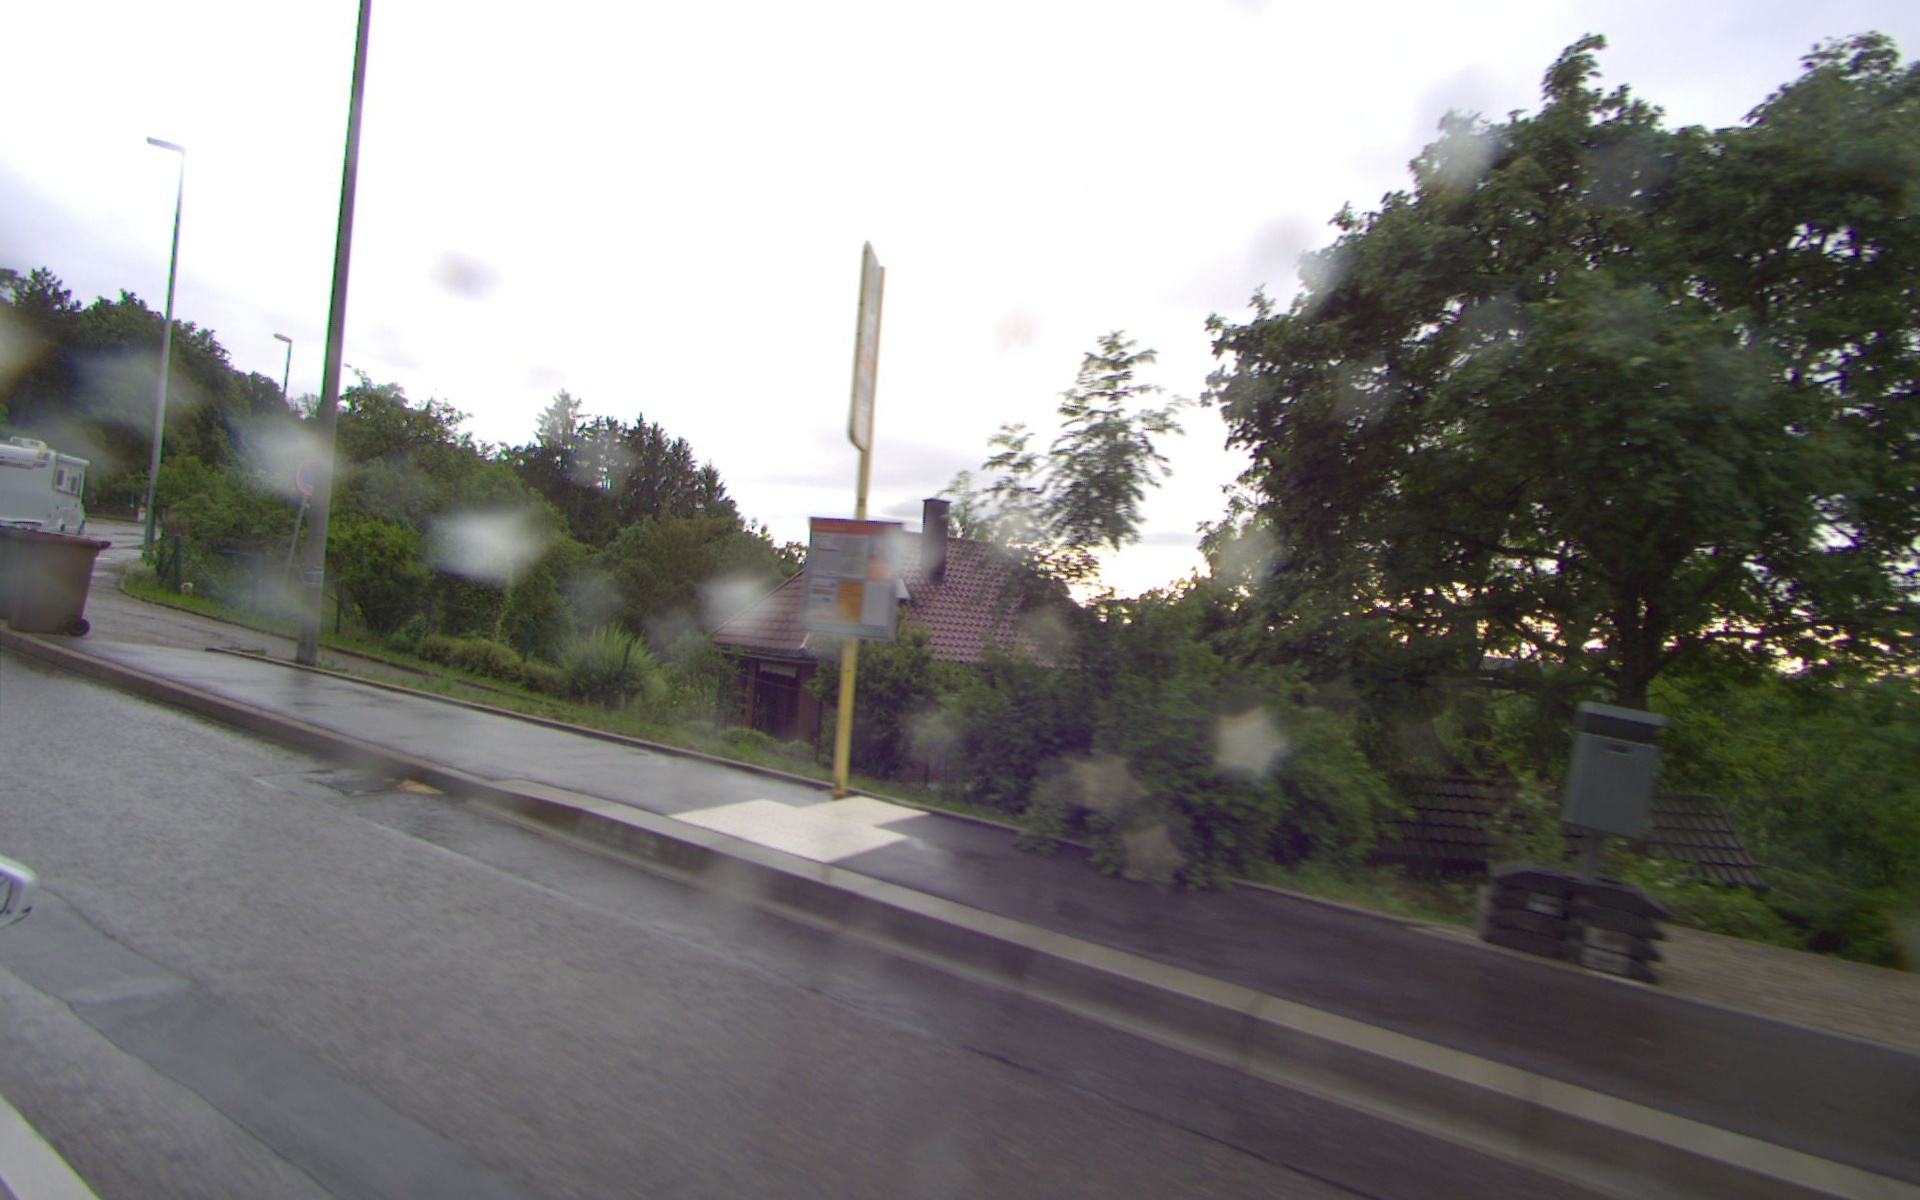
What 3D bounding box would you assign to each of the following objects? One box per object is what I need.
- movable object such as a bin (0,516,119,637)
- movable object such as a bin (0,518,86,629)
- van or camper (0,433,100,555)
[{"bbox_3d":[-9.647,-0.245,10.721,0.726,1.146,0.778,7,-1,35],"label":"movable object such as a bin"},{"bbox_3d":[-10.676,-0.311,11.496,0.726,1.146,0.778,7,-1,35],"label":"movable object such as a bin"},{"bbox_3d":[-26.450,-3.032,28.196,2.526,2.959,5.893,9,-1,-34],"label":"van or camper"}]
